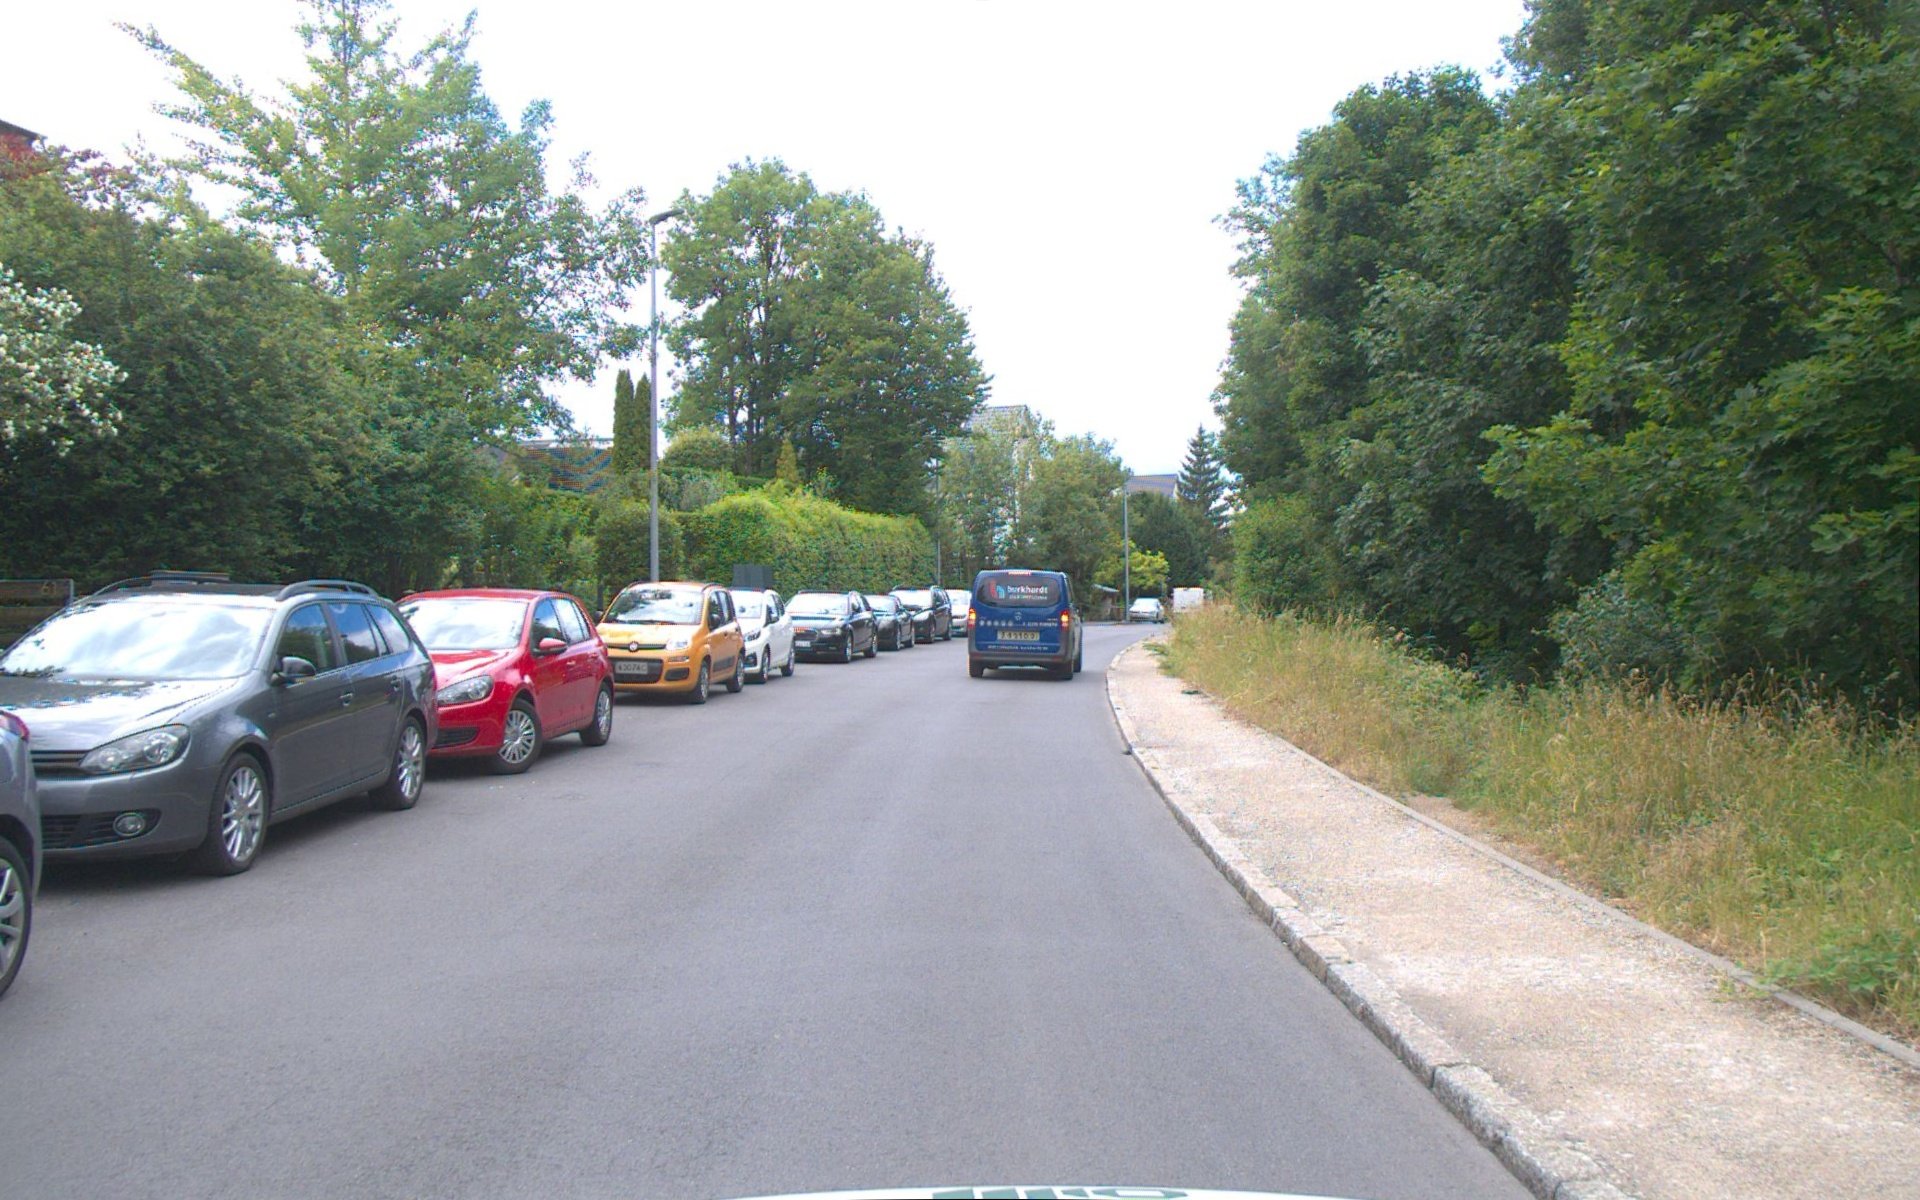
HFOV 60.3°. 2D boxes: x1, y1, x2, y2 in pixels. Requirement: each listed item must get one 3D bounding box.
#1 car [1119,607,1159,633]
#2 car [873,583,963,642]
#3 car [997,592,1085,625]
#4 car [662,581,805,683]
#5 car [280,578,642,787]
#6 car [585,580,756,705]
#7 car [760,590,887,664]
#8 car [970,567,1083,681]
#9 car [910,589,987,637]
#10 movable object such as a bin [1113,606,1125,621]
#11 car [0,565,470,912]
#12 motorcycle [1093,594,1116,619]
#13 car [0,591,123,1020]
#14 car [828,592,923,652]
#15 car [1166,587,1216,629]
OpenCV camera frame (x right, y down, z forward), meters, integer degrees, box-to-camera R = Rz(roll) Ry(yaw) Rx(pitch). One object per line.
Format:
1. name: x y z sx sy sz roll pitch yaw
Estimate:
1. car: 10.567 1.180 97.361 1.669 1.493 4.078 1 0 16
2. car: -1.123 0.328 46.872 1.621 1.560 4.478 1 0 10
3. car: 3.854 0.405 78.013 4.079 1.472 1.741 1 0 4
4. car: -3.631 0.479 27.039 1.555 1.541 3.592 1 0 5
5. car: -4.163 0.607 14.576 1.671 1.541 4.365 1 0 3
6. car: -3.843 0.526 22.481 1.511 1.541 3.645 1 0 3
7. car: -2.760 0.509 34.491 1.682 1.409 4.667 1 0 7
8. car: 1.235 0.395 30.442 1.896 1.913 4.532 1 0 3
9. car: -0.317 0.394 52.254 1.737 1.398 4.344 1 0 8
10. movable object such as a bin: 9.873 0.849 102.740 0.578 0.925 0.700 1 -1 22
11. car: -4.399 0.601 9.652 1.672 1.541 4.496 1 0 1
12. motorcycle: 8.816 0.392 100.873 0.793 1.511 2.897 1 0 18
13. car: -4.003 0.688 4.281 1.672 1.434 4.159 1 0 -2
14. car: -2.042 0.503 41.043 1.675 1.364 4.111 1 0 6
15. car: 11.963 0.413 85.416 2.159 2.100 6.140 0 0 12
